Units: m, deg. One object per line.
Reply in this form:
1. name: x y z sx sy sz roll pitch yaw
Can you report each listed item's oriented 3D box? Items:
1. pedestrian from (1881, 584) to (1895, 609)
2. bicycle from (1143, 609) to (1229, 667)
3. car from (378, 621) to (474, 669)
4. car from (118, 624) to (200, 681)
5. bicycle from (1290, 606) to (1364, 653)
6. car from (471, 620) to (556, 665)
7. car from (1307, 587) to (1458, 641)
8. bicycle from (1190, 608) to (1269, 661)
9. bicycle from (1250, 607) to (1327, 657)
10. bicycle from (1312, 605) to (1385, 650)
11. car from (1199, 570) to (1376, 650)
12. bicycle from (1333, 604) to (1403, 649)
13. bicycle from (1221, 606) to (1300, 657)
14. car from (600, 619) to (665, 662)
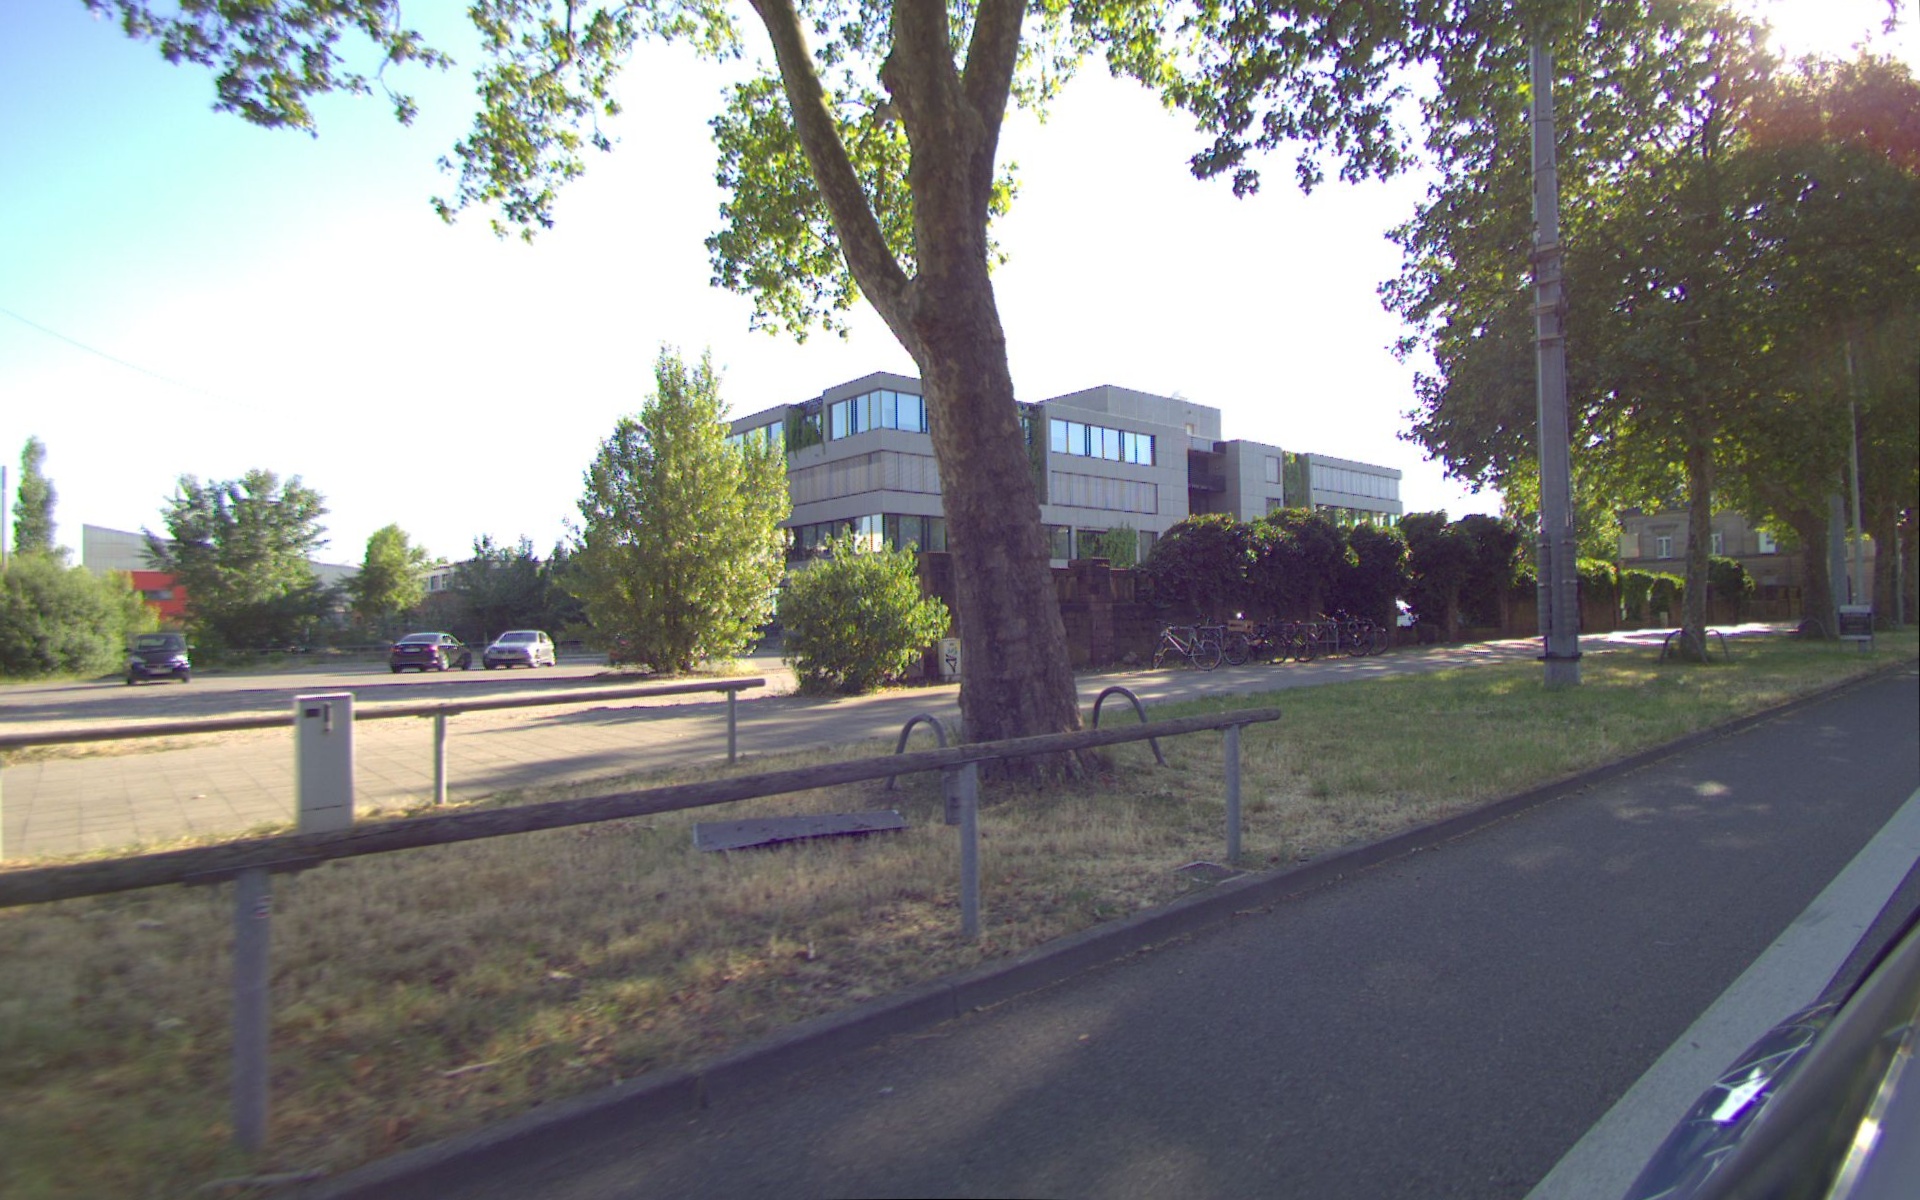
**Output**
1. pedestrian: 66.454 -0.269 72.477 0.769 1.766 0.784 0 0 43
2. bicycle: 4.676 0.767 21.031 1.772 1.134 0.433 0 0 43
3. car: -19.763 1.616 37.663 1.821 1.632 4.371 -1 -1 -8
4. car: -25.072 1.599 31.793 1.825 1.632 4.363 -1 -1 -36
5. bicycle: 9.246 0.717 25.540 0.432 1.134 1.776 0 0 -41
6. car: -17.358 1.604 39.550 1.959 1.609 4.372 -1 -1 -9
7. car: 17.072 0.599 41.148 1.965 2.008 5.269 0 -2 -41
8. bicycle: 6.056 0.750 22.822 0.432 1.134 1.776 0 0 -41
9. bicycle: 7.779 0.745 24.029 0.432 1.134 1.776 0 0 -41
10. bicycle: 9.998 0.690 26.096 0.432 1.134 1.776 0 0 -41
11. car: 11.121 0.404 34.733 1.965 2.522 5.468 0 -2 -41
12. bicycle: 10.785 0.683 26.788 0.432 1.134 1.690 0 0 -41
13. bicycle: 6.881 0.701 23.248 0.432 1.134 1.776 0 0 -41
14. car: -13.790 1.667 42.862 1.844 1.632 4.371 -1 -1 -8
